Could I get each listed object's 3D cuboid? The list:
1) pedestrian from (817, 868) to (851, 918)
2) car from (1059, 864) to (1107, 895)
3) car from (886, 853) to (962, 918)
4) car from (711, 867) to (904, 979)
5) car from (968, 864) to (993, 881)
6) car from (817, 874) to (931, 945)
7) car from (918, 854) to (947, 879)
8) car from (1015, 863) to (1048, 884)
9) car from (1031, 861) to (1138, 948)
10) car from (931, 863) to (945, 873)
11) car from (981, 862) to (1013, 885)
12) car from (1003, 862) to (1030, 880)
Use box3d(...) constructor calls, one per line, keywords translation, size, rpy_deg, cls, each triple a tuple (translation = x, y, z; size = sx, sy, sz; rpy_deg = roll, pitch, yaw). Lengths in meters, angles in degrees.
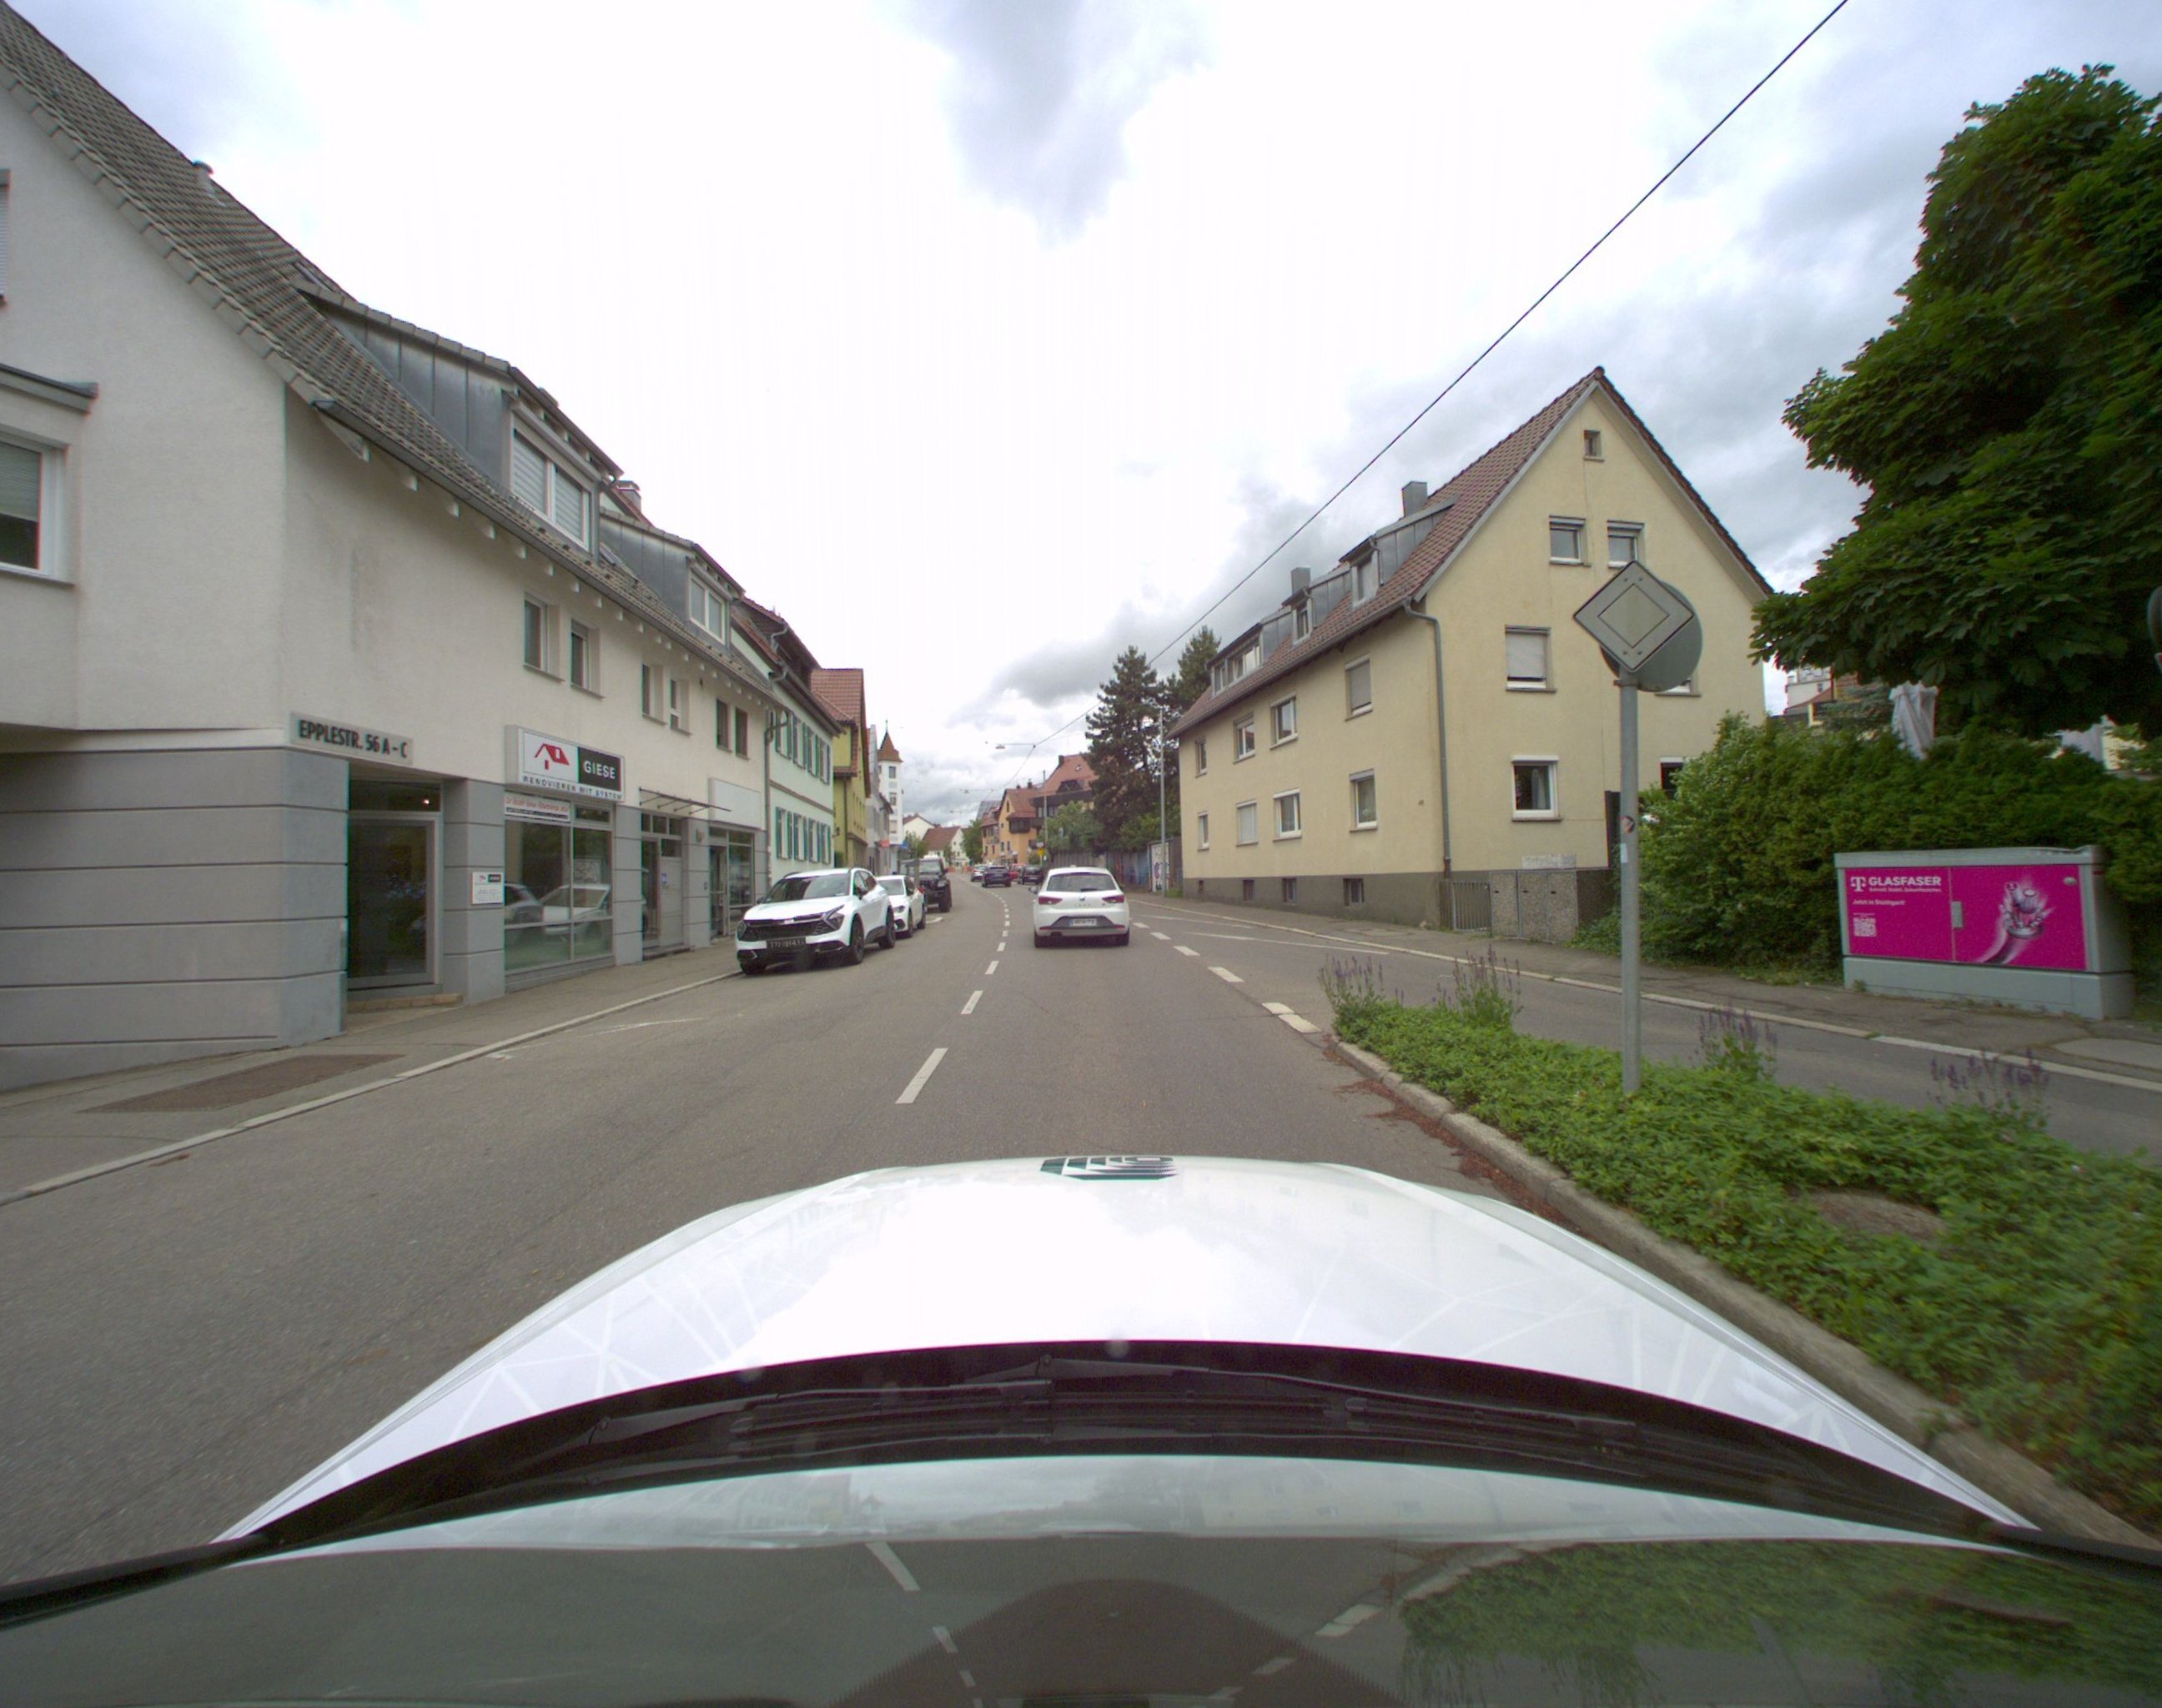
box3d(translation=(-7.584, 1.195, 25.017), size=(0.805, 1.500, 0.974), rpy_deg=(0, -2, -5), cls="pedestrian")
box3d(translation=(0.058, 1.247, 40.674), size=(1.758, 1.452, 3.987), rpy_deg=(1, -1, -9), cls="car")
box3d(translation=(-5.594, 1.058, 29.561), size=(1.989, 2.013, 4.664), rpy_deg=(-4, 0, -3), cls="car")
box3d(translation=(-4.668, 1.083, 14.787), size=(1.993, 1.633, 4.853), rpy_deg=(-1, 0, -2), cls="car")
box3d(translation=(-8.682, 1.580, 70.066), size=(1.760, 1.452, 3.983), rpy_deg=(-1, -1, -12), cls="car")
box3d(translation=(-4.876, 1.252, 19.753), size=(1.994, 1.436, 3.912), rpy_deg=(-1, 0, -4), cls="car")
box3d(translation=(-16.960, 1.397, 93.153), size=(2.144, 2.687, 5.547), rpy_deg=(0, 0, 2), cls="car")
box3d(translation=(-3.658, 1.414, 59.705), size=(1.760, 1.452, 3.982), rpy_deg=(-1, -1, -13), cls="car")
box3d(translation=(-0.060, 0.900, 16.098), size=(1.755, 1.452, 3.993), rpy_deg=(-1, -1, -5), cls="car")
box3d(translation=(-27.522, 2.681, 156.767), size=(1.788, 1.701, 3.999), rpy_deg=(-1, 0, 0), cls="car")
box3d(translation=(-5.568, 1.252, 53.741), size=(1.759, 1.452, 3.986), rpy_deg=(-1, -1, -10), cls="car")
box3d(translation=(-5.629, 1.438, 70.382), size=(1.760, 1.452, 3.982), rpy_deg=(-1, -1, -13), cls="car")
